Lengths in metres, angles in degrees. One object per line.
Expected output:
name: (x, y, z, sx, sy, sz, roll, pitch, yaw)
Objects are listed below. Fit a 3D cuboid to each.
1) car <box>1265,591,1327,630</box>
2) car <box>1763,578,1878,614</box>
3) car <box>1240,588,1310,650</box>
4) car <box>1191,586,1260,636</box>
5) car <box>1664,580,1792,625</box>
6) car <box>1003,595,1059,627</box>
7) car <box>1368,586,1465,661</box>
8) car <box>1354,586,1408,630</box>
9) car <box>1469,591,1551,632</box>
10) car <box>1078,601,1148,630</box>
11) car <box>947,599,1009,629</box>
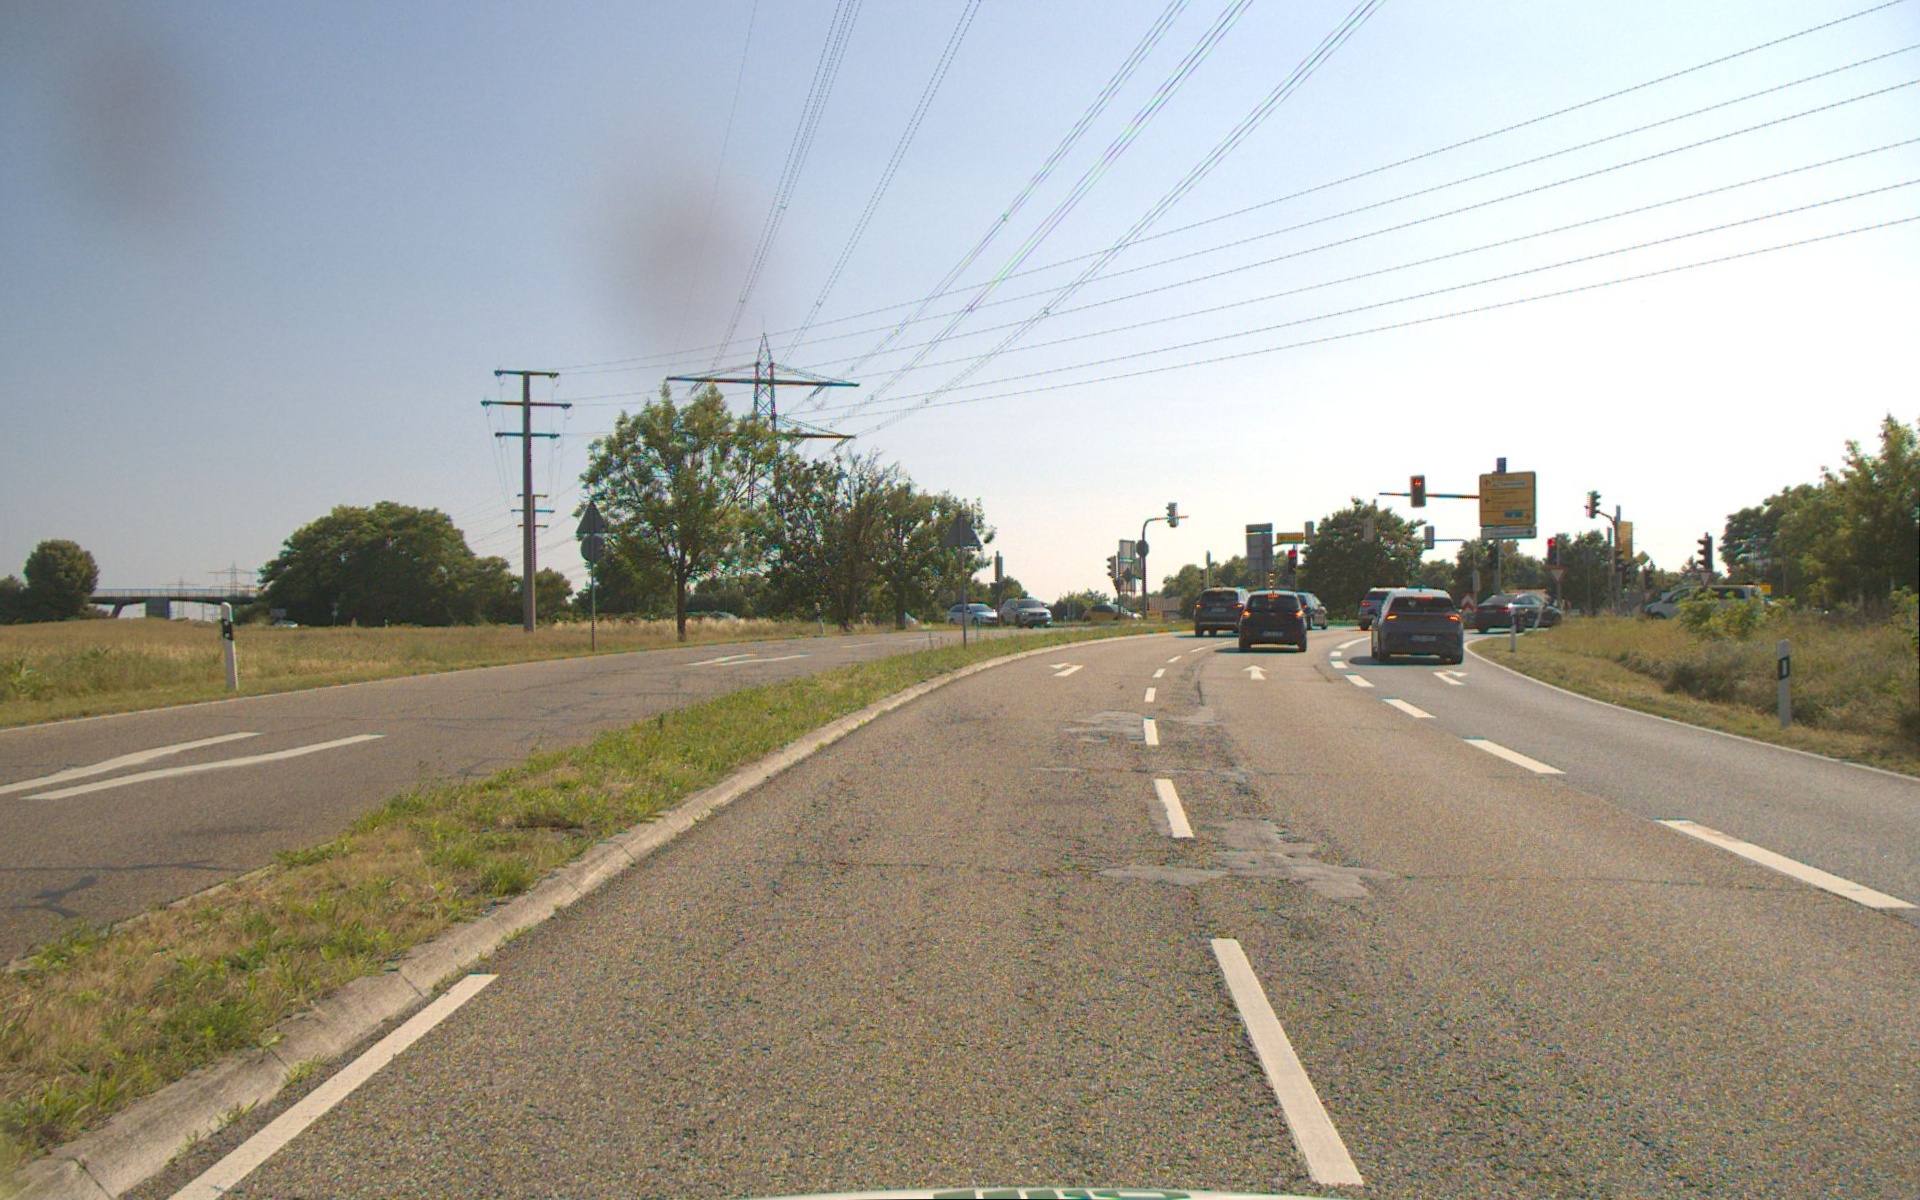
car: (13.537, 0.439, 66.485, 1.707, 1.510, 3.622, 1, 0, 24)
car: (38.648, -0.150, 74.328, 1.794, 1.546, 4.263, 0, -1, -45)
car: (7.954, 0.455, 41.638, 1.598, 1.473, 3.297, 0, 0, 13)
car: (8.926, 0.349, 55.449, 1.705, 1.596, 3.626, 0, 0, 19)
car: (34.488, 0.091, 74.333, 1.986, 1.951, 4.866, 0, 0, -45)
car: (3.771, 0.611, 88.742, 1.786, 1.680, 3.980, 0, -1, -17)
car: (9.911, 0.465, 36.152, 1.735, 1.544, 4.103, 0, 0, 11)
car: (16.817, 0.327, 65.913, 1.599, 1.706, 3.749, 0, 0, 22)
car: (20.615, 0.416, 61.907, 1.615, 1.410, 3.981, -1, 0, 38)
car: (9.081, 0.927, 98.410, 1.805, 1.680, 3.937, 0, -1, -43)
car: (1.038, 0.797, 94.990, 1.796, 1.680, 3.958, 0, -1, -30)
